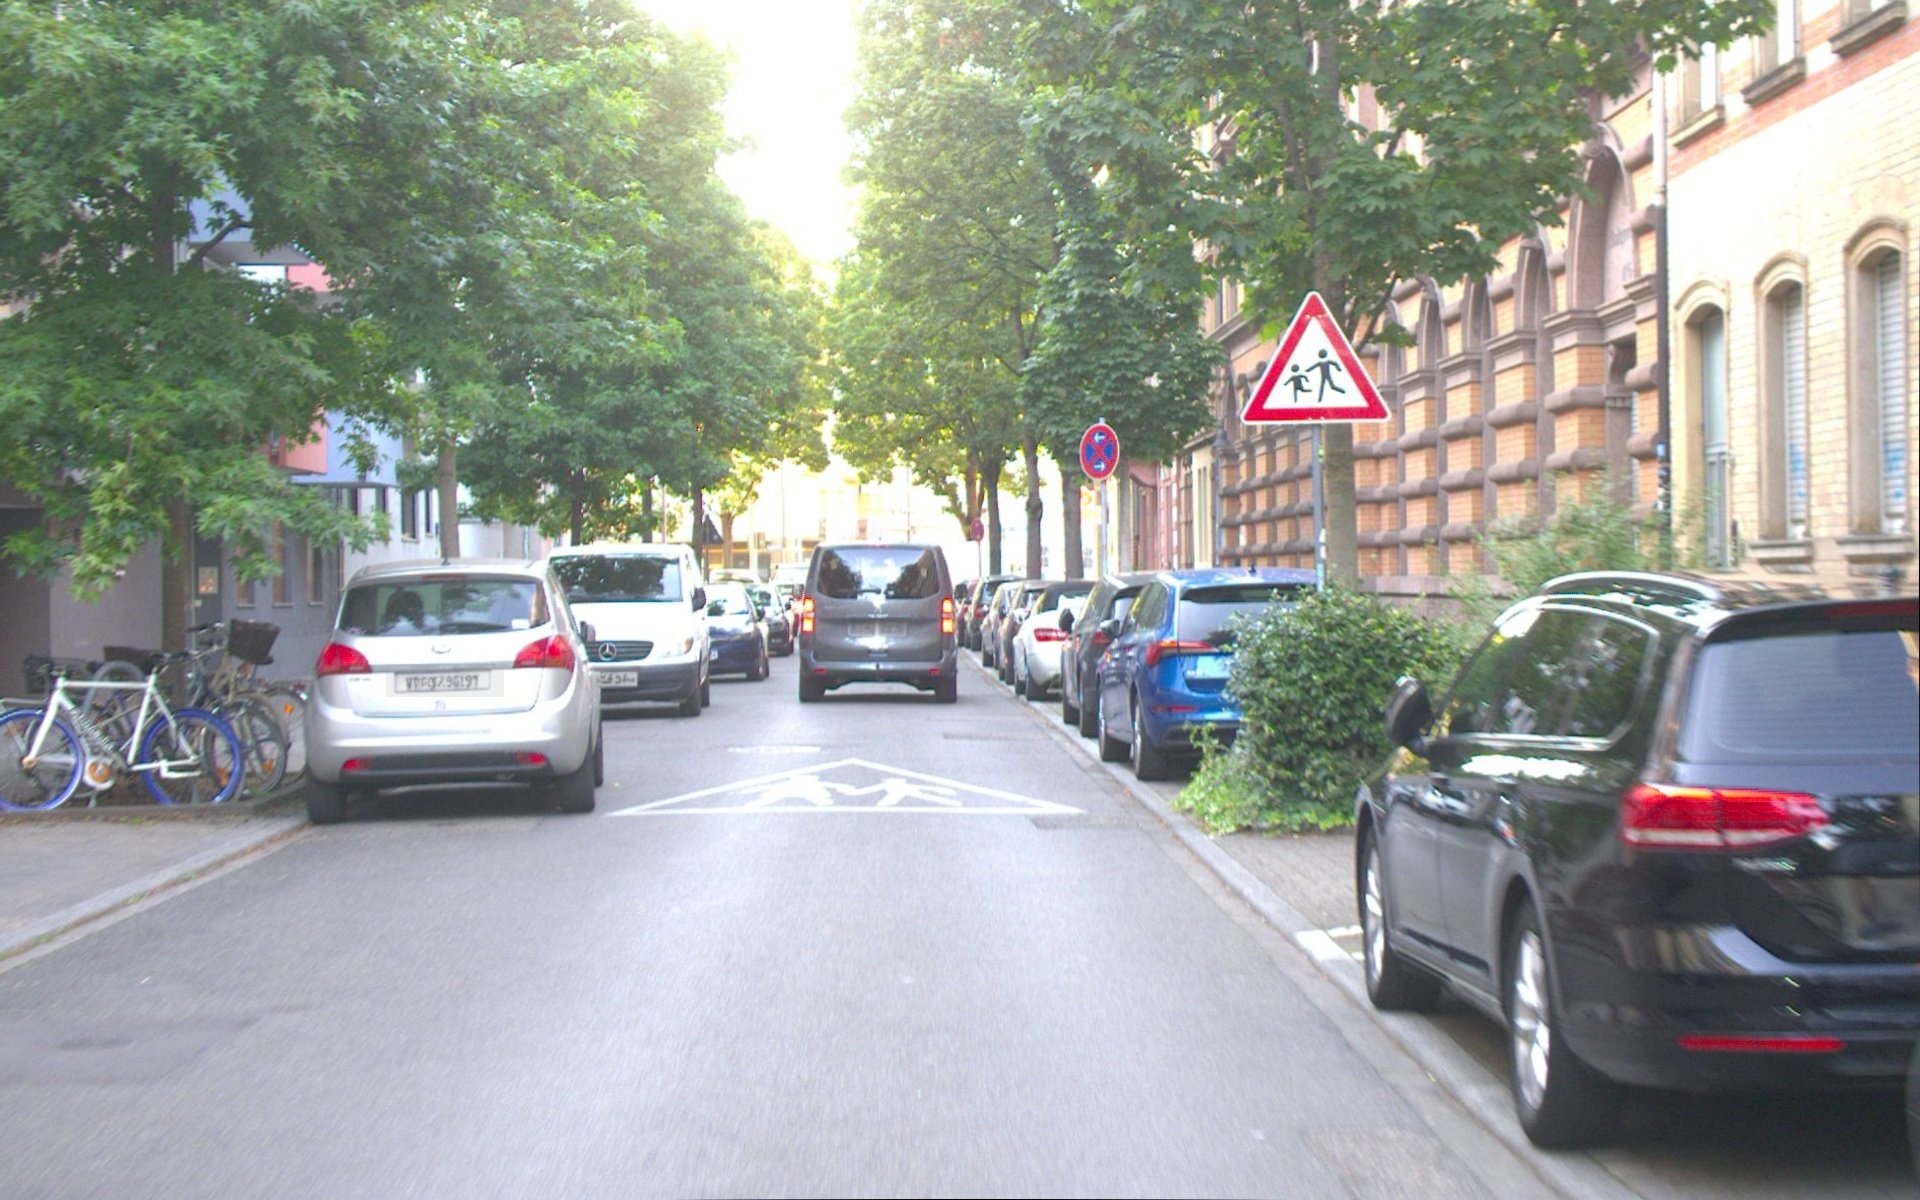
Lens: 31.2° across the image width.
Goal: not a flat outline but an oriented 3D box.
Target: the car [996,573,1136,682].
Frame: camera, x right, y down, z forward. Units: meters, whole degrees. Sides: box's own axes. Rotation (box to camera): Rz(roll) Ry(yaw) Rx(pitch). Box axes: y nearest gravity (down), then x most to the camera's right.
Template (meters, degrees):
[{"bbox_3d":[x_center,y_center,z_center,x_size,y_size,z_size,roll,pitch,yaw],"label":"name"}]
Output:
[{"bbox_3d":[1.469,0.377,49.058,1.722,1.445,4.215,-2,0,-1],"label":"car"}]

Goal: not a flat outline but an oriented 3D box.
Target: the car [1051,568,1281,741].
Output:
[{"bbox_3d":[1.834,0.456,31.747,1.711,1.473,4.193,-1,0,-2],"label":"car"}]

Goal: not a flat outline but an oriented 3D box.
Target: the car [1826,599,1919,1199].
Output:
[{"bbox_3d":[2.456,0.700,4.373,1.635,1.419,3.565,-2,0,-2],"label":"car"}]

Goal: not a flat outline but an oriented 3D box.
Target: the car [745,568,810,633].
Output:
[{"bbox_3d":[-4.765,-0.006,90.122,1.630,1.425,3.544,-1,4,-2],"label":"car"}]

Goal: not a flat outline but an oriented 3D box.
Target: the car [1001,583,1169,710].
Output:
[{"bbox_3d":[1.456,0.522,41.720,1.693,1.396,4.646,-2,0,-2],"label":"car"}]

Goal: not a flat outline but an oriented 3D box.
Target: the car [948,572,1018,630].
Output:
[{"bbox_3d":[0.587,0.008,89.992,1.750,1.466,3.776,-1,0,-1],"label":"car"}]

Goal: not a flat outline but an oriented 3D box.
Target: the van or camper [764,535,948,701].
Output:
[{"bbox_3d":[-1.204,0.191,41.657,2.035,1.891,4.271,0,0,1],"label":"van or camper"}]

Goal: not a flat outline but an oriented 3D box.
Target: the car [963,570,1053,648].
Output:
[{"bbox_3d":[0.995,0.177,72.847,1.611,1.554,3.766,-2,0,-3],"label":"car"}]

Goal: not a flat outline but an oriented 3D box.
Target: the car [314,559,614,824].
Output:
[{"bbox_3d":[-3.190,0.540,22.753,1.663,1.558,4.001,-1,0,-4],"label":"car"}]

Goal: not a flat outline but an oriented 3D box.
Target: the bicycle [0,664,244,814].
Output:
[{"bbox_3d":[-5.381,0.865,21.595,1.699,0.895,0.383,0,0,-31],"label":"bicycle"}]

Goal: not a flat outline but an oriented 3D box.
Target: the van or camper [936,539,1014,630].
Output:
[{"bbox_3d":[0.406,-0.463,100.971,1.993,2.590,5.425,-1,0,-2],"label":"van or camper"}]

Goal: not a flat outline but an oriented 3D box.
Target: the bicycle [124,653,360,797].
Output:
[{"bbox_3d":[-5.172,0.888,24.731,1.728,0.991,0.575,-1,1,33],"label":"bicycle"}]

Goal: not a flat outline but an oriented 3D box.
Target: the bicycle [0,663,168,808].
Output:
[{"bbox_3d":[-5.932,0.862,21.957,1.660,0.895,0.383,0,0,-31],"label":"bicycle"}]

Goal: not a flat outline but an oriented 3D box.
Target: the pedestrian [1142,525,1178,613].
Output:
[{"bbox_3d":[3.753,-0.572,64.549,0.627,1.643,0.532,0,0,-1],"label":"pedestrian"}]

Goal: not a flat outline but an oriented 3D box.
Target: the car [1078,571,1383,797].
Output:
[{"bbox_3d":[1.869,0.541,24.946,1.627,1.461,4.246,-1,0,-3],"label":"car"}]

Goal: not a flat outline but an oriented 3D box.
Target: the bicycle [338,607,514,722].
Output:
[{"bbox_3d":[-5.732,0.682,36.977,0.698,1.160,1.818,-1,1,41],"label":"bicycle"}]

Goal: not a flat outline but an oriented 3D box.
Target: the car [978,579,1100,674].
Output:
[{"bbox_3d":[1.318,0.425,58.966,1.697,1.478,4.000,-3,0,-3],"label":"car"}]

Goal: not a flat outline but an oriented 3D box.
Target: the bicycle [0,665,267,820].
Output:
[{"bbox_3d":[-5.153,0.866,21.195,1.699,0.904,0.383,0,0,-31],"label":"bicycle"}]

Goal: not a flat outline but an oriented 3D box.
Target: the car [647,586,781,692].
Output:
[{"bbox_3d":[-3.691,0.562,52.273,1.830,1.512,4.516,-1,0,-2],"label":"car"}]

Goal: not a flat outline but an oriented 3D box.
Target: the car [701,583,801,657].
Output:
[{"bbox_3d":[-4.248,0.380,70.419,1.846,1.446,4.502,0,0,-1],"label":"car"}]

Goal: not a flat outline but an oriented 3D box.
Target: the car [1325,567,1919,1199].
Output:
[{"bbox_3d":[2.231,0.651,9.863,1.766,1.410,4.474,-3,0,-1],"label":"car"}]

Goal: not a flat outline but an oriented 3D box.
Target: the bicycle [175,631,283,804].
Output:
[{"bbox_3d":[-4.908,0.771,23.143,0.419,1.100,1.665,0,0,-2],"label":"bicycle"}]

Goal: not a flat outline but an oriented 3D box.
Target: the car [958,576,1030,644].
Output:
[{"bbox_3d":[0.788,0.207,77.265,1.551,1.491,3.610,0,0,2],"label":"car"}]

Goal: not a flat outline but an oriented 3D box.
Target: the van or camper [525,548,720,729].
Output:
[{"bbox_3d":[-3.664,0.375,38.011,1.876,1.836,4.753,-1,1,-3],"label":"van or camper"}]
